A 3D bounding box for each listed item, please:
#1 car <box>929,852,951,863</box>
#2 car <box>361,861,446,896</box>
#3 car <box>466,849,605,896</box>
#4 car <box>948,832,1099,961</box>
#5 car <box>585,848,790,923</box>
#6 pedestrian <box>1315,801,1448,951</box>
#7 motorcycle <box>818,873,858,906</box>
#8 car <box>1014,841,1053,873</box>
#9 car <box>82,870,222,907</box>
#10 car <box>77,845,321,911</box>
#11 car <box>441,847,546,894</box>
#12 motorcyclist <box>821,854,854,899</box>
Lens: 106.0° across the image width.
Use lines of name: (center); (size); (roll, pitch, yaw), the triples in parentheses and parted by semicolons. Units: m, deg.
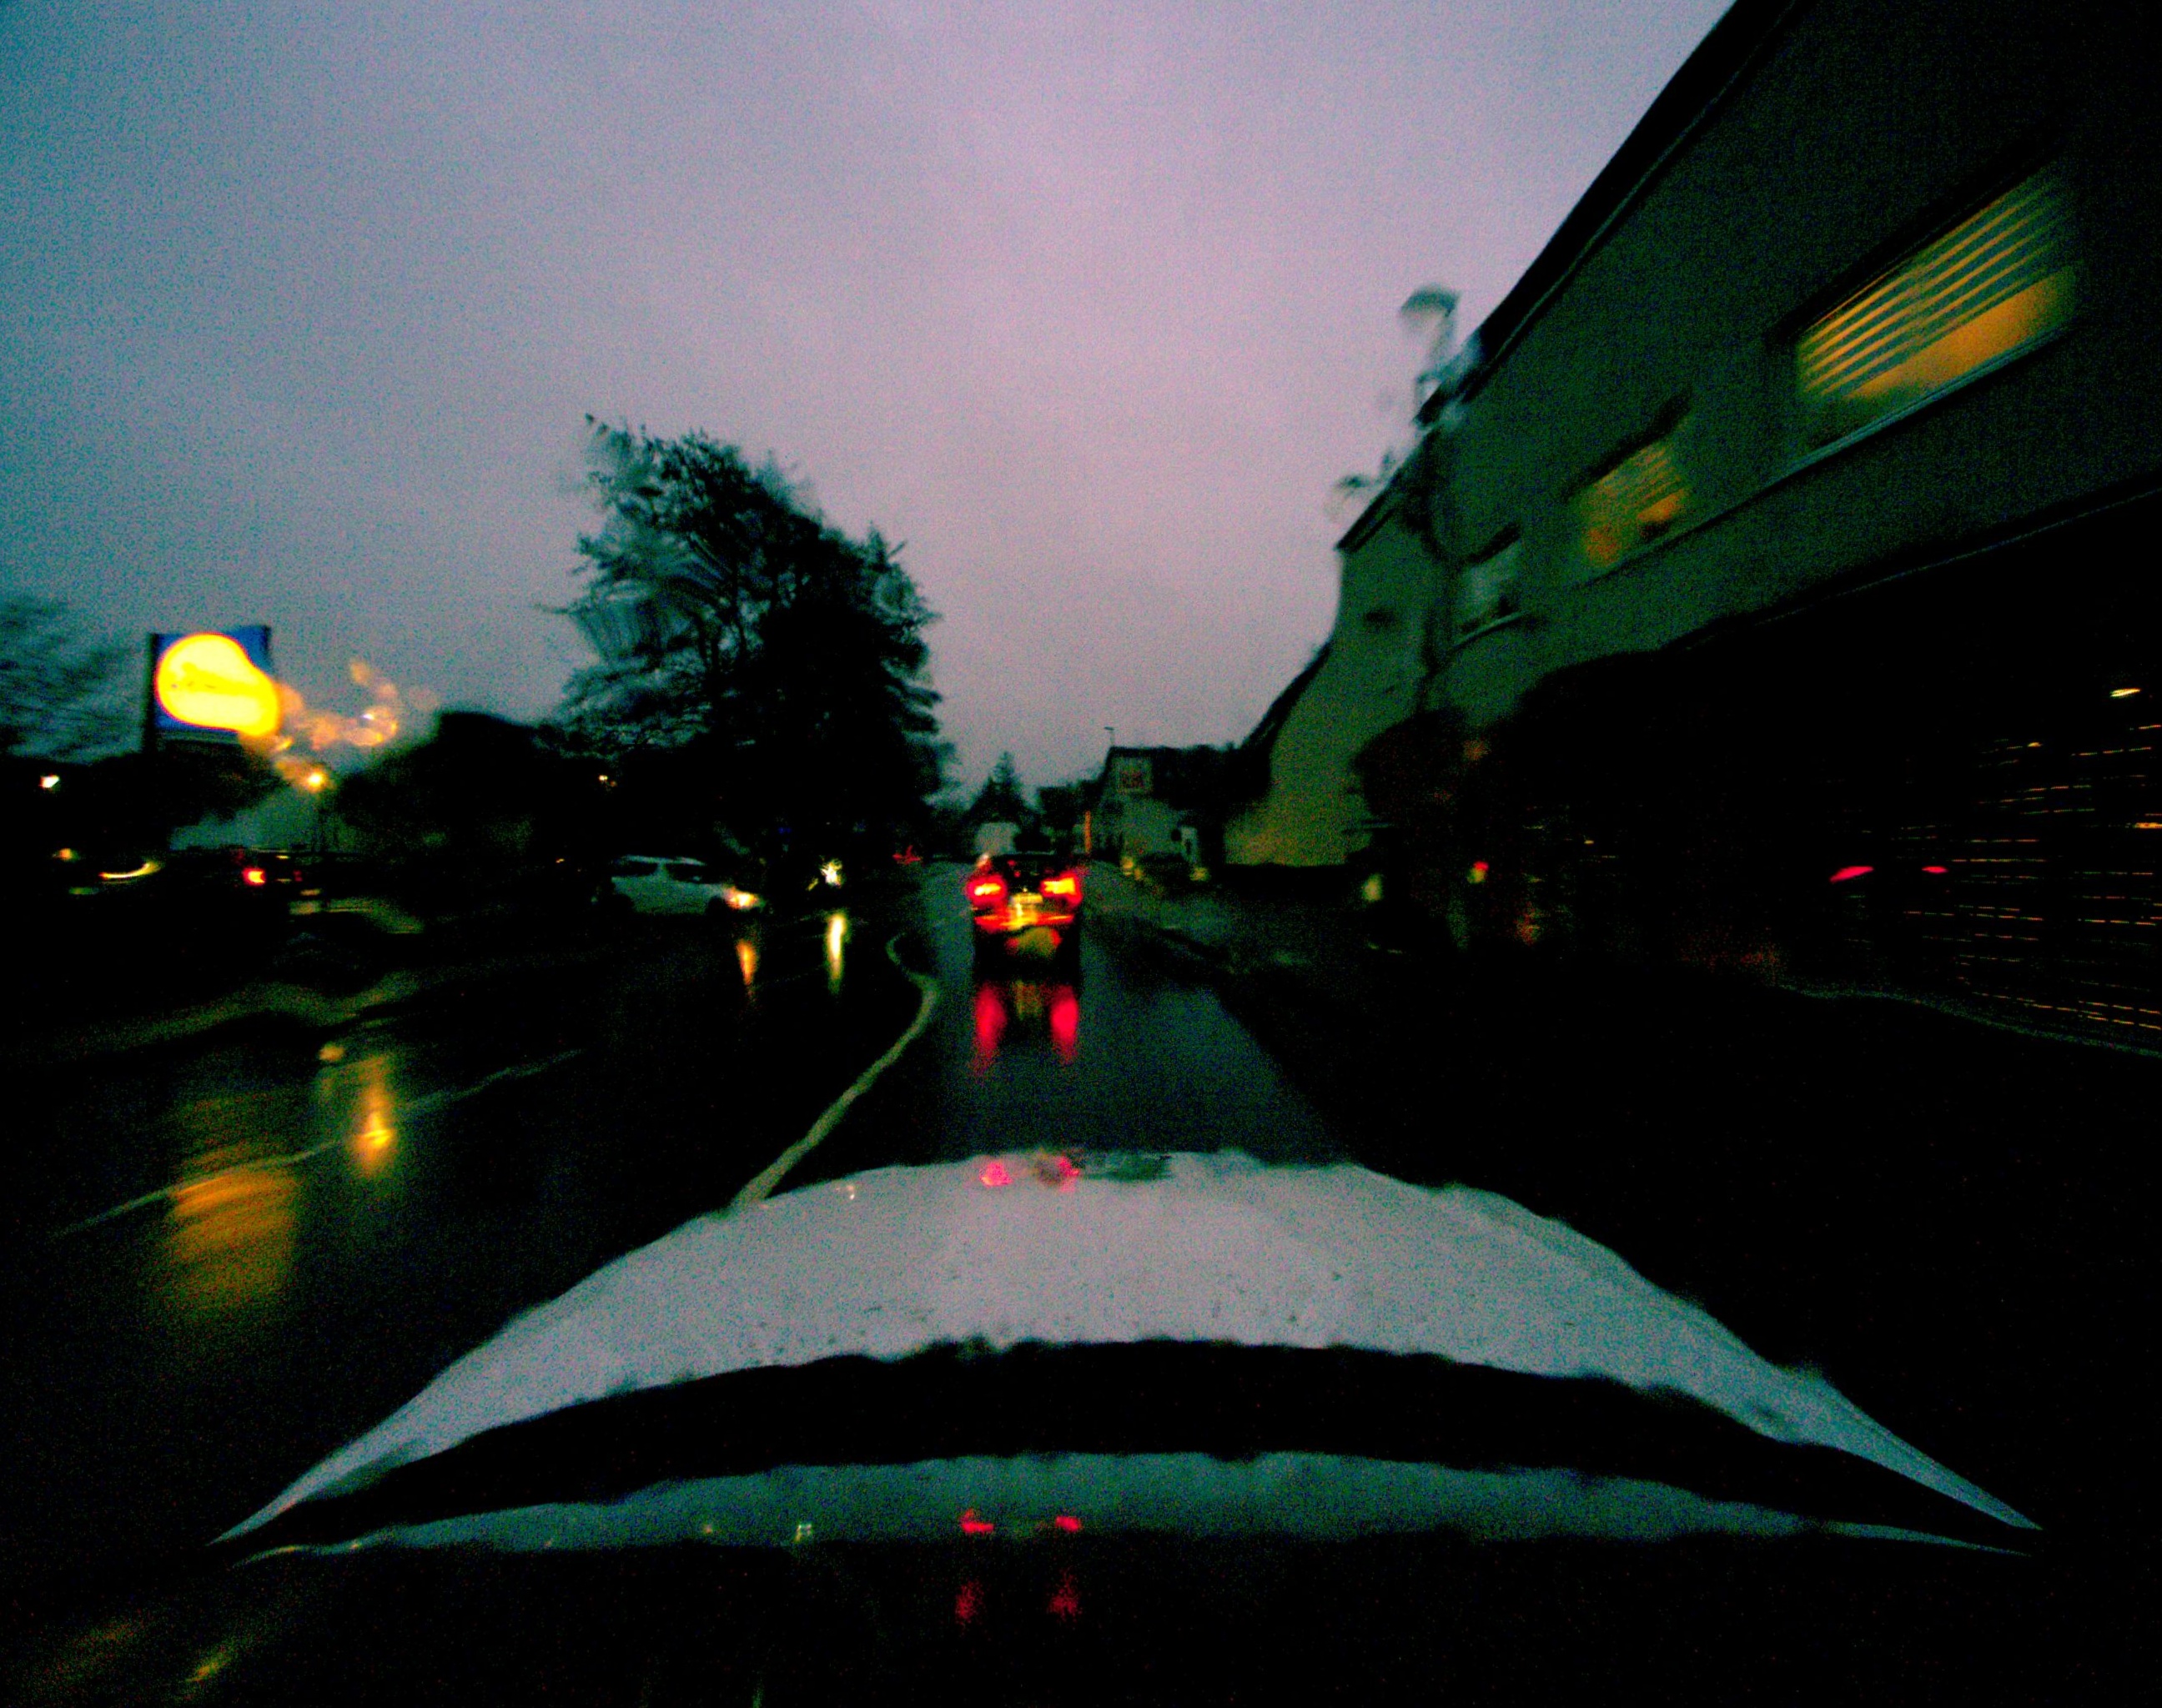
car: (-28.495, 0.705, 164.326); (4.256, 2.013, 1.800); (-2, 0, -17)
car: (-36.157, 1.290, 43.572); (1.692, 1.639, 3.702); (2, 1, -7)
car: (-24.168, 0.822, 36.290); (4.653, 1.976, 2.118); (1, 1, -15)
car: (-1.135, 0.673, 15.226); (2.306, 1.938, 5.007); (-1, 0, -6)
car: (-9.844, 0.774, 20.692); (4.224, 1.699, 1.894); (2, -1, -9)
pedestrian: (4.031, 0.280, 11.065); (1.250, 1.866, 1.303); (-3, 0, 0)
motorcycle: (-8.214, 1.181, 27.626); (0.864, 1.024, 2.106); (0, 0, -4)
car: (-3.040, 0.188, 52.401); (2.304, 1.938, 5.012); (-1, 0, -3)
car: (-46.541, 1.680, 40.983); (2.045, 1.569, 4.651); (1, 1, -7)
car: (-24.901, 0.632, 23.181); (4.404, 1.671, 1.964); (-1, 1, -8)
car: (-31.369, 0.810, 43.742); (2.278, 2.278, 5.257); (1, 1, -7)
motorcyclist: (-8.197, 0.747, 27.447); (0.864, 1.485, 0.907); (0, -1, -4)
